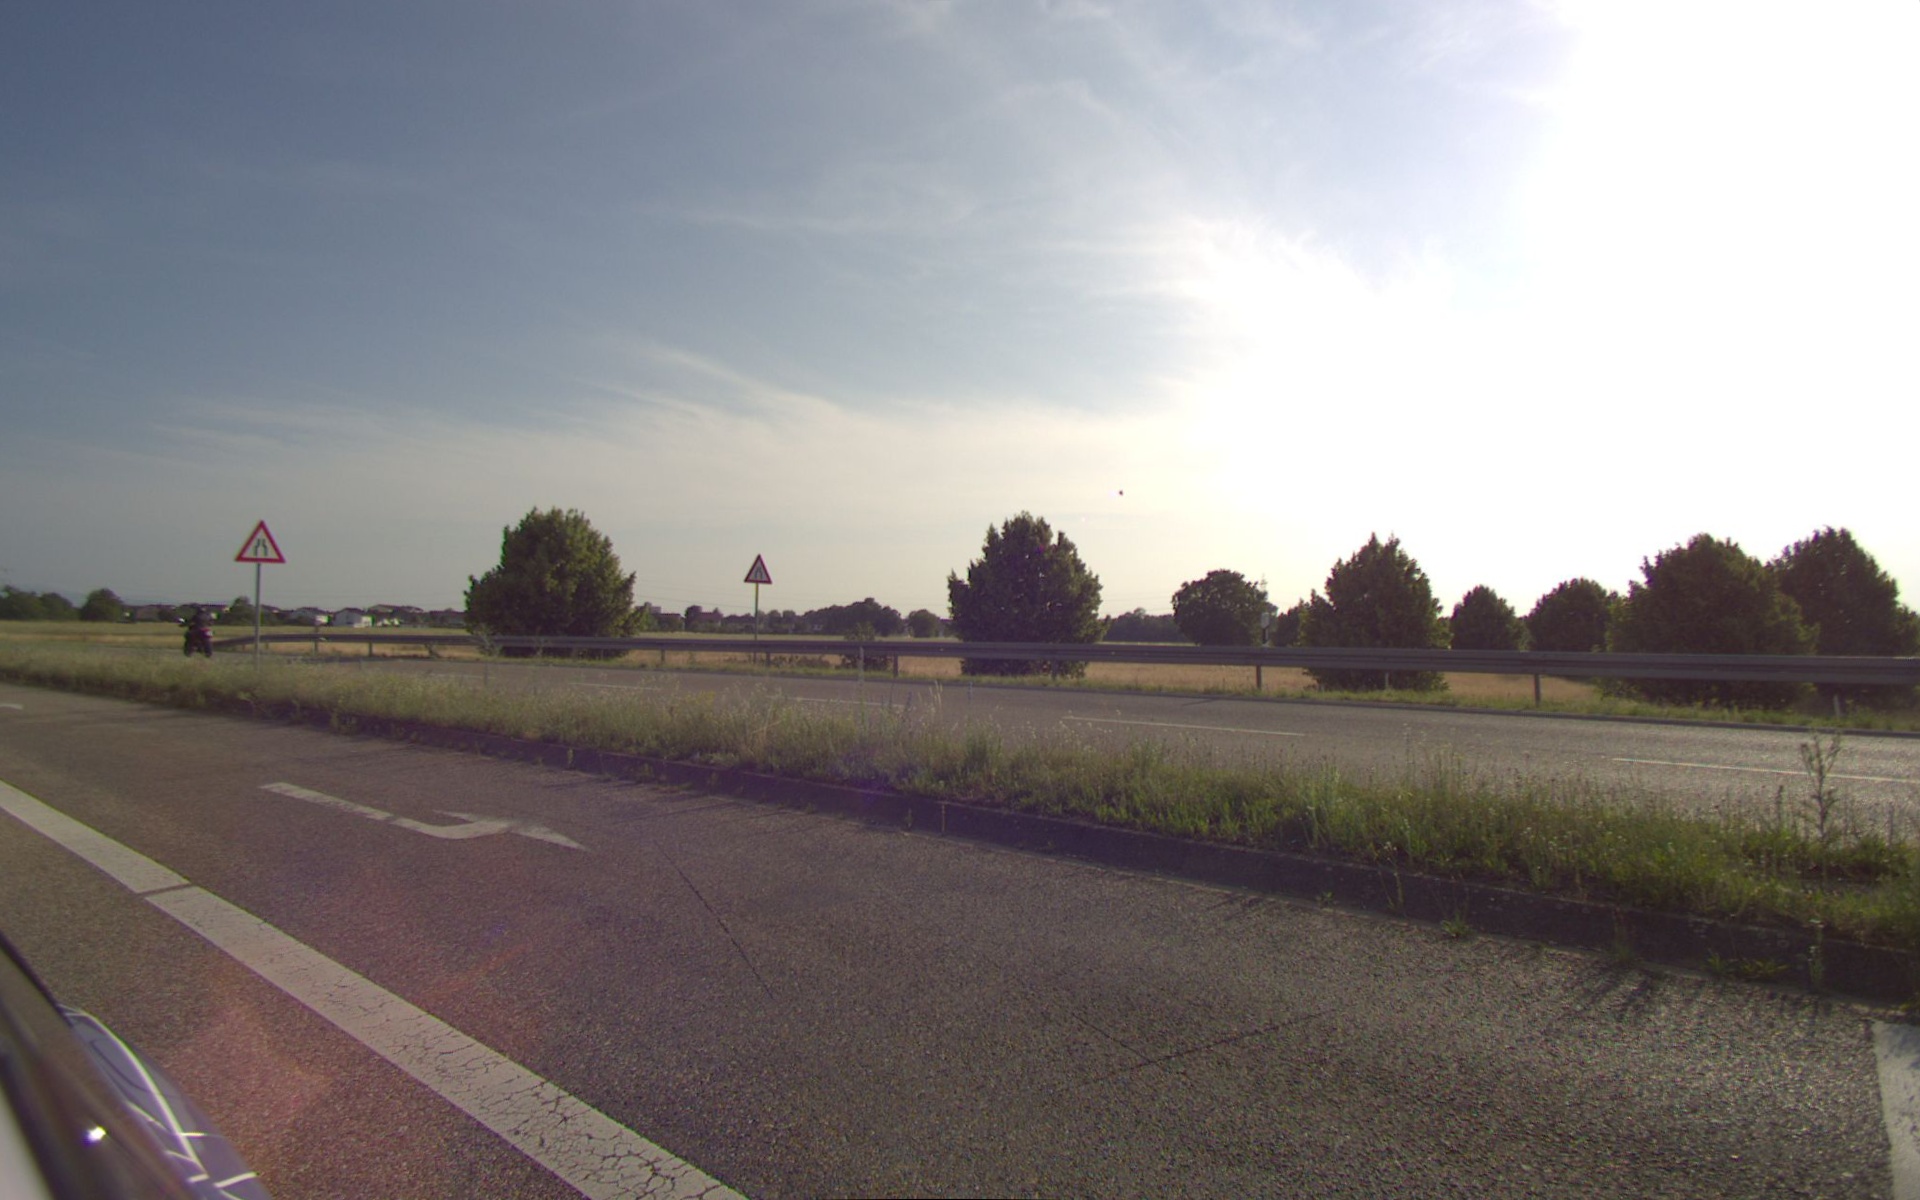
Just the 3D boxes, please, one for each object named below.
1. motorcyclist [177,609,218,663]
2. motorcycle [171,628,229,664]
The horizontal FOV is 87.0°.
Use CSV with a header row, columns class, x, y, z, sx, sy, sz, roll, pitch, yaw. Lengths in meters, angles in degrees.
class,x,y,z,sx,sy,sz,roll,pitch,yaw
motorcyclist,-25.651,1.191,34.049,0.830,1.771,0.896,-1,-1,35
motorcycle,-25.534,1.529,33.991,2.166,1.133,0.929,-1,-1,35
